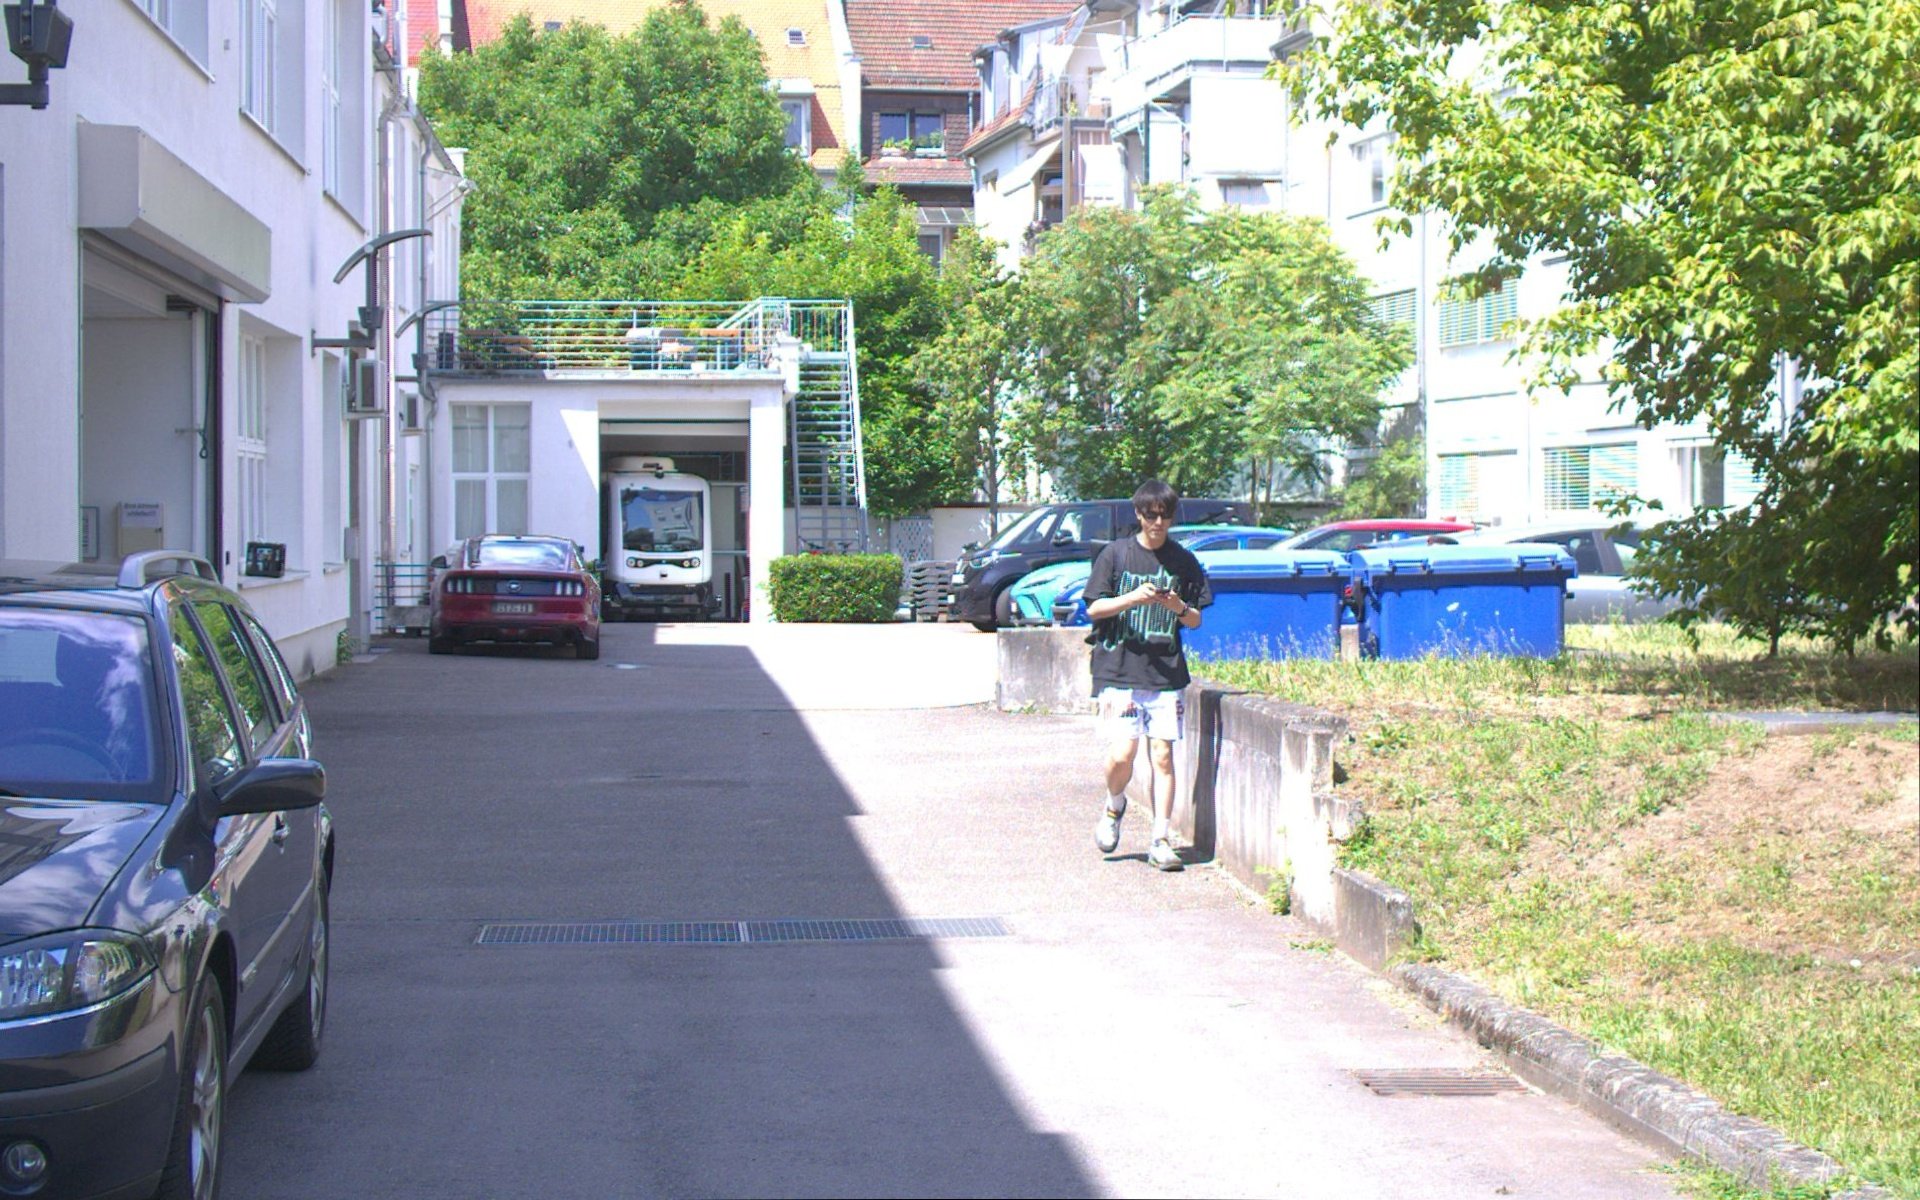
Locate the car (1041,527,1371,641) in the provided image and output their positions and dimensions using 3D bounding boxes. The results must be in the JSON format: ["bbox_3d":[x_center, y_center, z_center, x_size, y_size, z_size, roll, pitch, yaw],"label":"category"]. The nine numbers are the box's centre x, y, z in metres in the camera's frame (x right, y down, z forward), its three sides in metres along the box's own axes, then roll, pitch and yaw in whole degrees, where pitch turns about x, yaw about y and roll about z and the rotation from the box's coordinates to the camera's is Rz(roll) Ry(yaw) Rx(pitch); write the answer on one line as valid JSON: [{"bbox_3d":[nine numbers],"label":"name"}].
[{"bbox_3d":[3.150,-0.222,44.440,3.986,1.385,1.805,-1,2,-6],"label":"car"}]

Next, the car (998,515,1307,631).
[{"bbox_3d":[2.627,-0.389,47.385,3.986,1.529,1.805,-1,2,-6],"label":"car"}]

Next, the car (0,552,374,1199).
[{"bbox_3d":[-2.508,0.640,8.198,1.754,1.425,4.387,0,2,-4],"label":"car"}]

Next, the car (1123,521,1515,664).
[{"bbox_3d":[3.911,-0.105,37.839,3.986,1.473,1.805,-1,2,-6],"label":"car"}]

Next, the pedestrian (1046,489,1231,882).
[{"bbox_3d":[0.805,0.372,15.681,0.757,1.749,0.751,0,1,-4],"label":"pedestrian"}]

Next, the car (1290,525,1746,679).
[{"bbox_3d":[5.337,-0.009,33.149,3.986,1.385,1.805,-1,2,-6],"label":"car"}]

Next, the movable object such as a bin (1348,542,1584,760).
[{"bbox_3d":[3.204,0.303,21.886,1.216,1.322,1.161,-1,2,-7],"label":"movable object such as a bin"}]

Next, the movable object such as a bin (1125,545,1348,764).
[{"bbox_3d":[1.736,0.327,21.797,1.192,1.322,1.161,-1,2,-7],"label":"movable object such as a bin"}]

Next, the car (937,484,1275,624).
[{"bbox_3d":[2.105,-0.693,50.387,4.676,1.951,2.077,-1,2,-6],"label":"car"}]

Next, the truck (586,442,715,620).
[{"bbox_3d":[-5.333,-1.190,58.850,1.787,2.927,4.654,0,1,-10],"label":"truck"}]

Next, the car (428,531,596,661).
[{"bbox_3d":[-5.139,-0.084,39.821,1.798,1.385,4.001,-1,2,-6],"label":"car"}]

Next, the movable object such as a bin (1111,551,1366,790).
[{"bbox_3d":[1.604,0.390,20.032,1.339,1.322,1.161,-1,2,-2],"label":"movable object such as a bin"}]

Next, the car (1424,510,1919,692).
[{"bbox_3d":[6.184,-0.019,29.690,3.986,1.473,1.805,-1,2,-6],"label":"car"}]

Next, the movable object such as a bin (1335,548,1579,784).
[{"bbox_3d":[2.894,0.367,20.158,1.216,1.322,1.161,-1,2,-2],"label":"movable object such as a bin"}]
